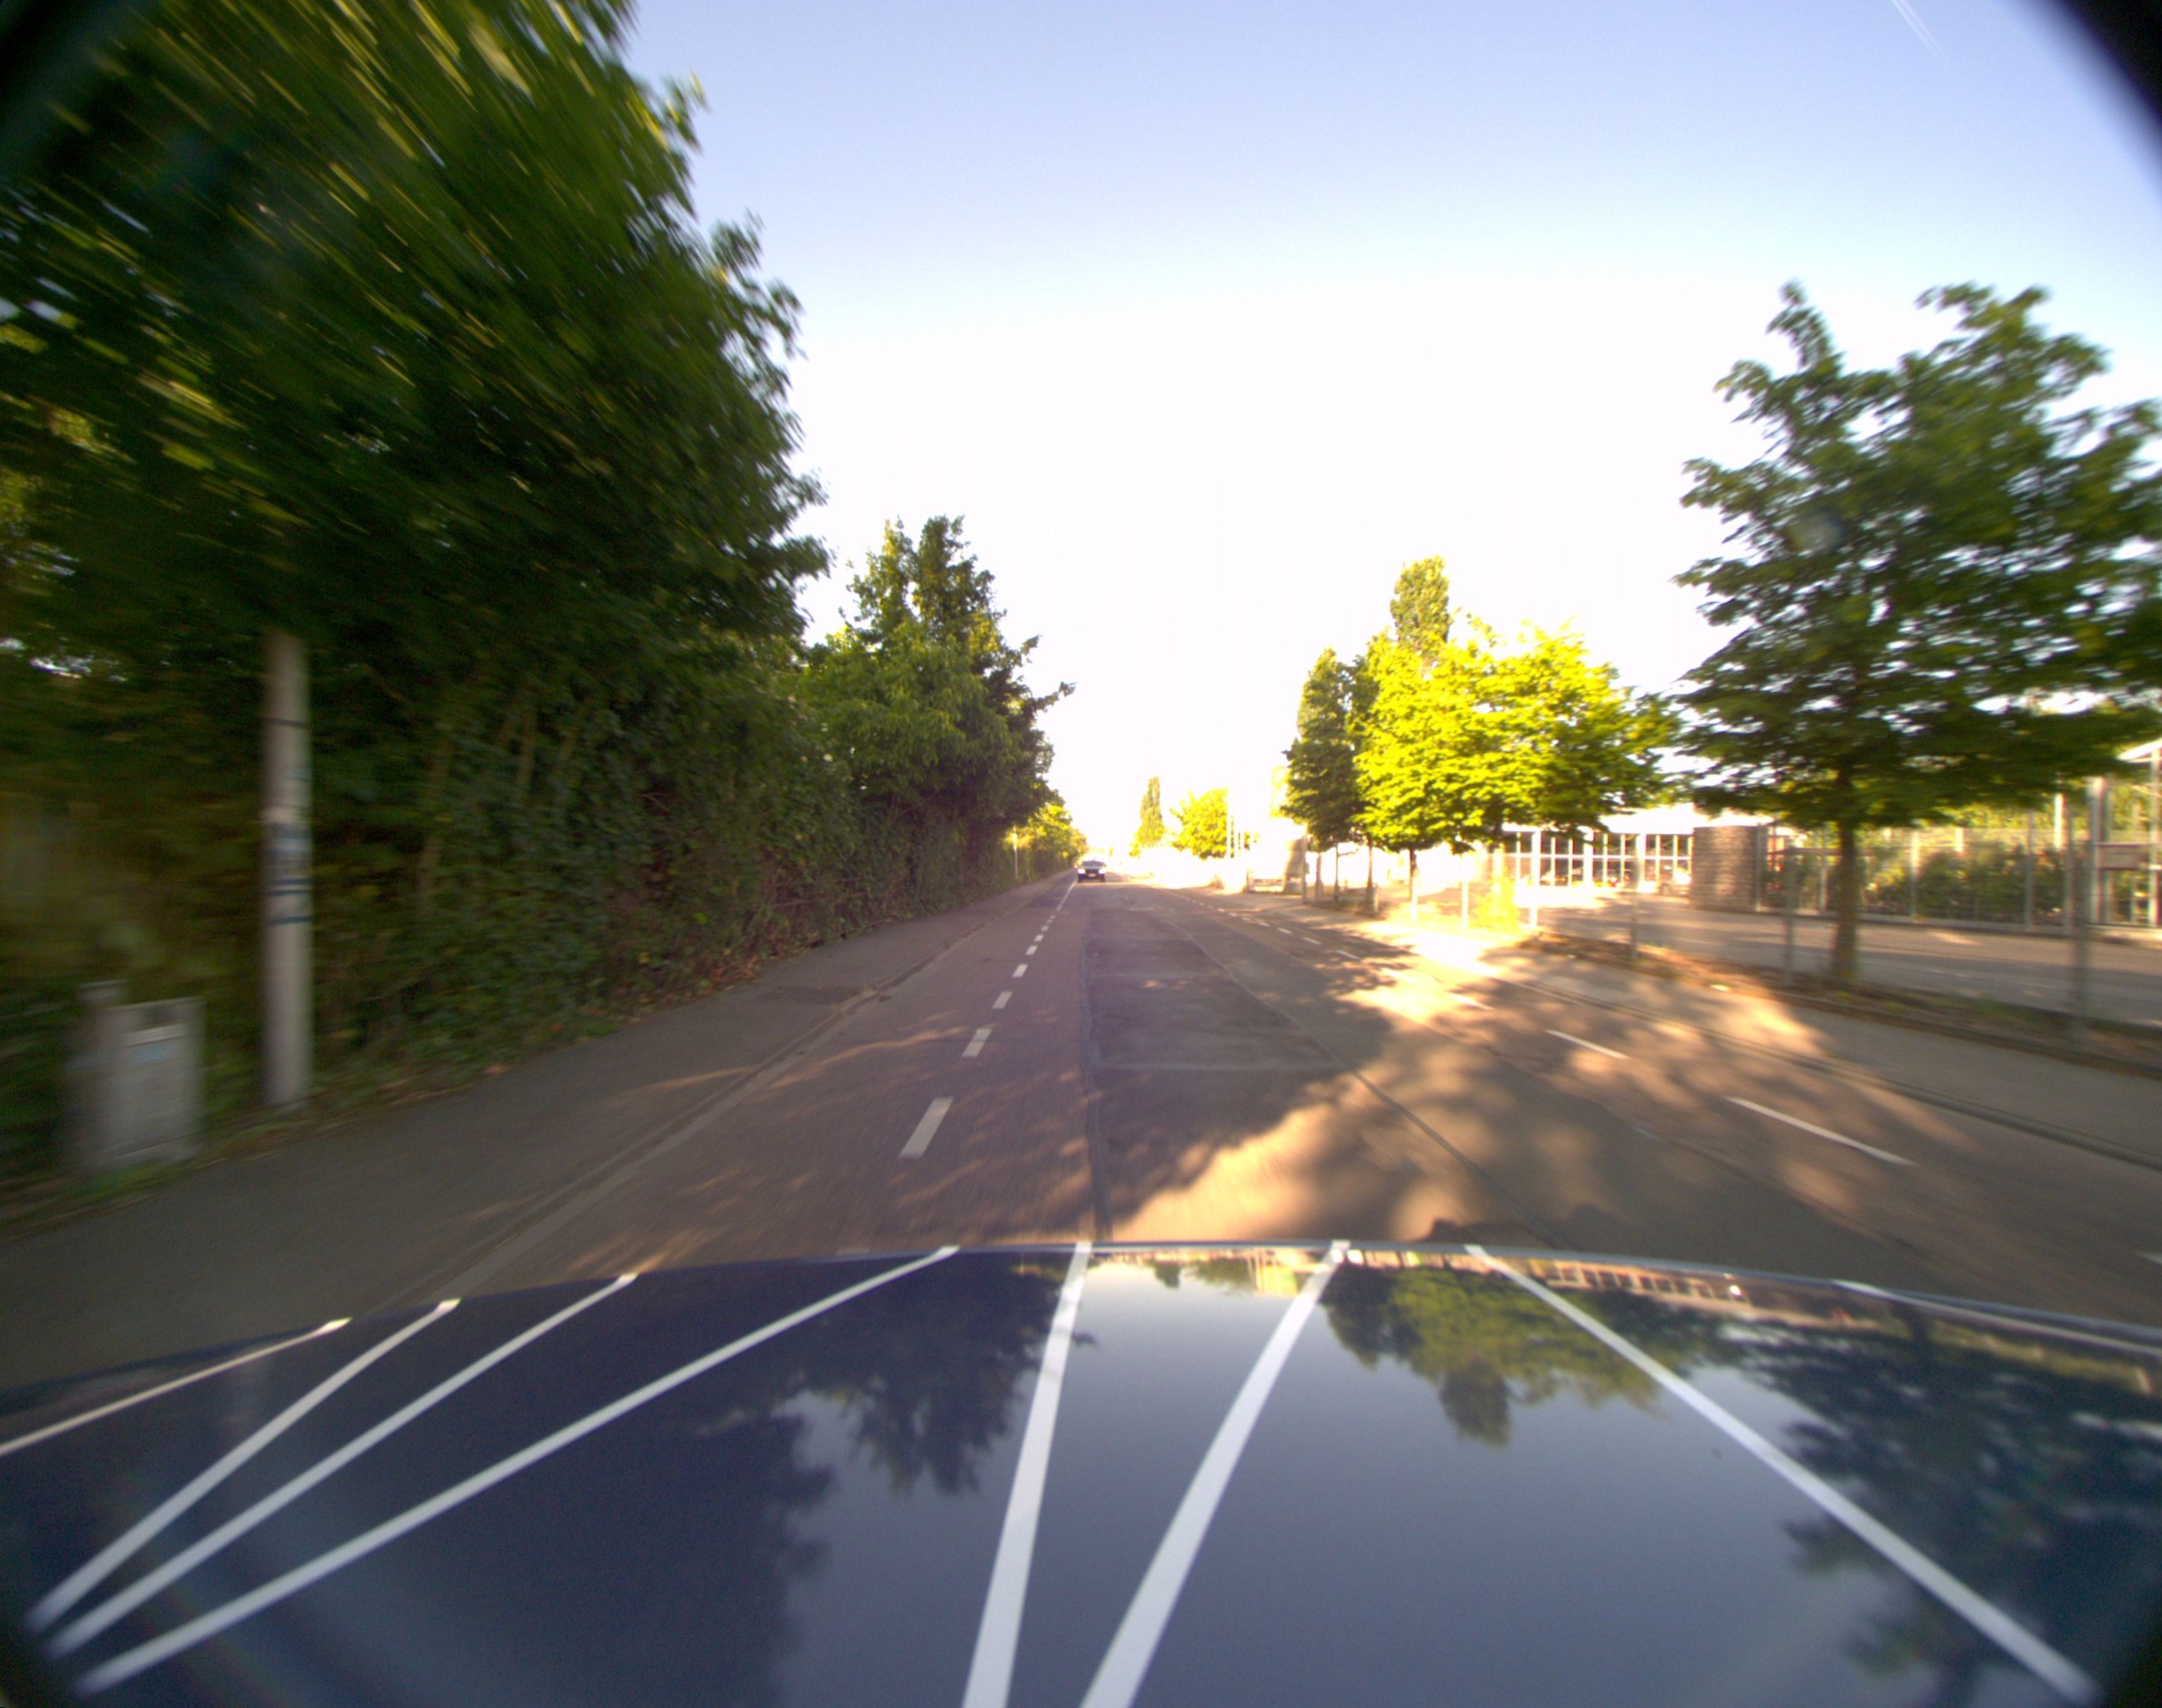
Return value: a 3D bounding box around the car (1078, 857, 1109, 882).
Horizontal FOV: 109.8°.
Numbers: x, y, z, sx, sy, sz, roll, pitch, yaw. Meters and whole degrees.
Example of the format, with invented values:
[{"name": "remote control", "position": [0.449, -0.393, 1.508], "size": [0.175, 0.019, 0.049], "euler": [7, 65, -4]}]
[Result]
[{"name": "car", "position": [0.859, 1.060, 54.298], "size": [1.999, 1.608, 3.999], "euler": [-3, 0, -1]}]
